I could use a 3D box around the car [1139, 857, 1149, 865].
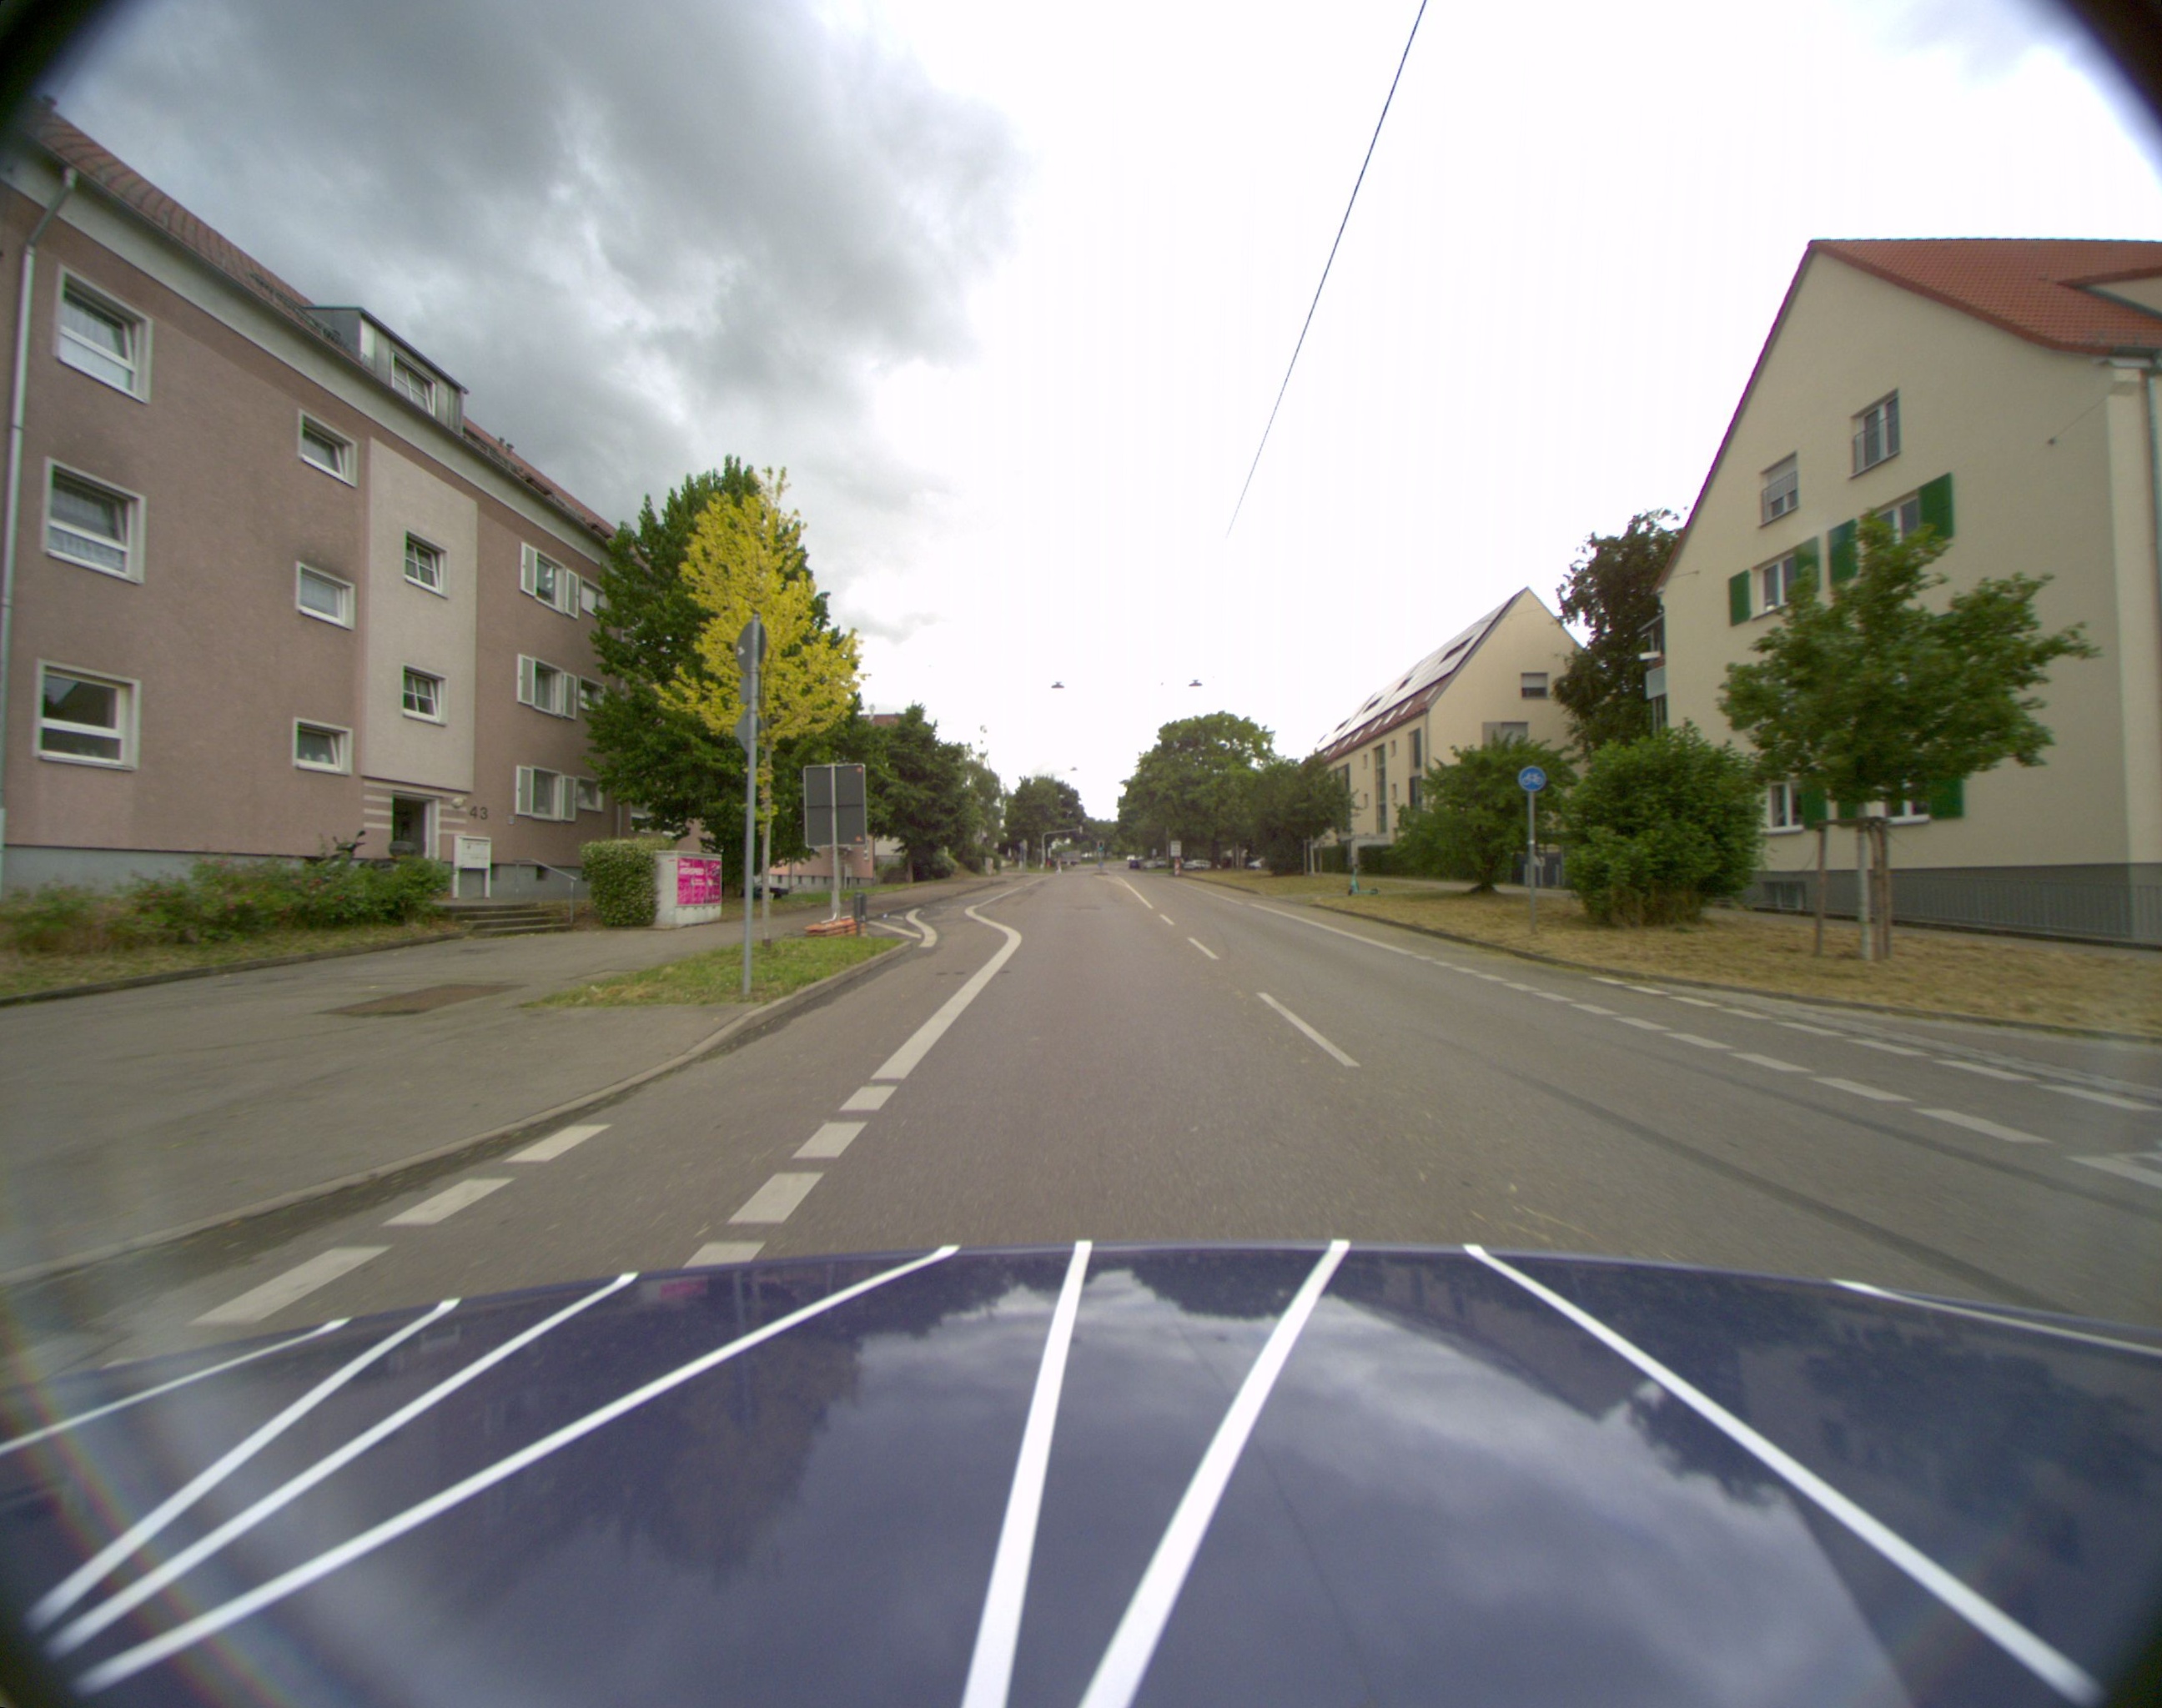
[{"bbox_3d":[10.896,1.144,131.146,1.604,1.346,4.001,-1,0,2],"label":"car"}]

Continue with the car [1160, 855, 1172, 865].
[{"bbox_3d":[14.697,1.062,131.525,1.860,1.596,4.001,-1,0,2],"label":"car"}]

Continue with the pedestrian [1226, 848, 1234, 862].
[{"bbox_3d":[18.877,0.128,96.338,0.778,1.746,0.688,-1,1,-31],"label":"pedestrian"}]

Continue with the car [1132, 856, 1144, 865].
[{"bbox_3d":[10.698,1.253,142.118,1.997,1.674,4.002,-1,0,6],"label":"car"}]

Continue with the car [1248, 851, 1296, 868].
[{"bbox_3d":[22.539,0.604,89.671,5.152,1.906,2.000,-1,0,1],"label":"car"}]

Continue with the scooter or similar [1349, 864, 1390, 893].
[{"bbox_3d":[10.832,0.929,28.561,1.374,1.080,0.466,0,0,-3],"label":"scooter or similar"}]

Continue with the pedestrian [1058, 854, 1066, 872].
[{"bbox_3d":[-1.855,0.873,73.831,0.658,1.674,0.575,2,-2,2],"label":"pedestrian"}]

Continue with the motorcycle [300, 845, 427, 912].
[{"bbox_3d":[-14.019,0.447,14.931,0.592,1.220,1.967,-1,0,1],"label":"motorcycle"}]

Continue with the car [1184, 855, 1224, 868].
[{"bbox_3d":[13.818,0.866,85.265,4.034,1.455,1.804,1,0,-21],"label":"car"}]
